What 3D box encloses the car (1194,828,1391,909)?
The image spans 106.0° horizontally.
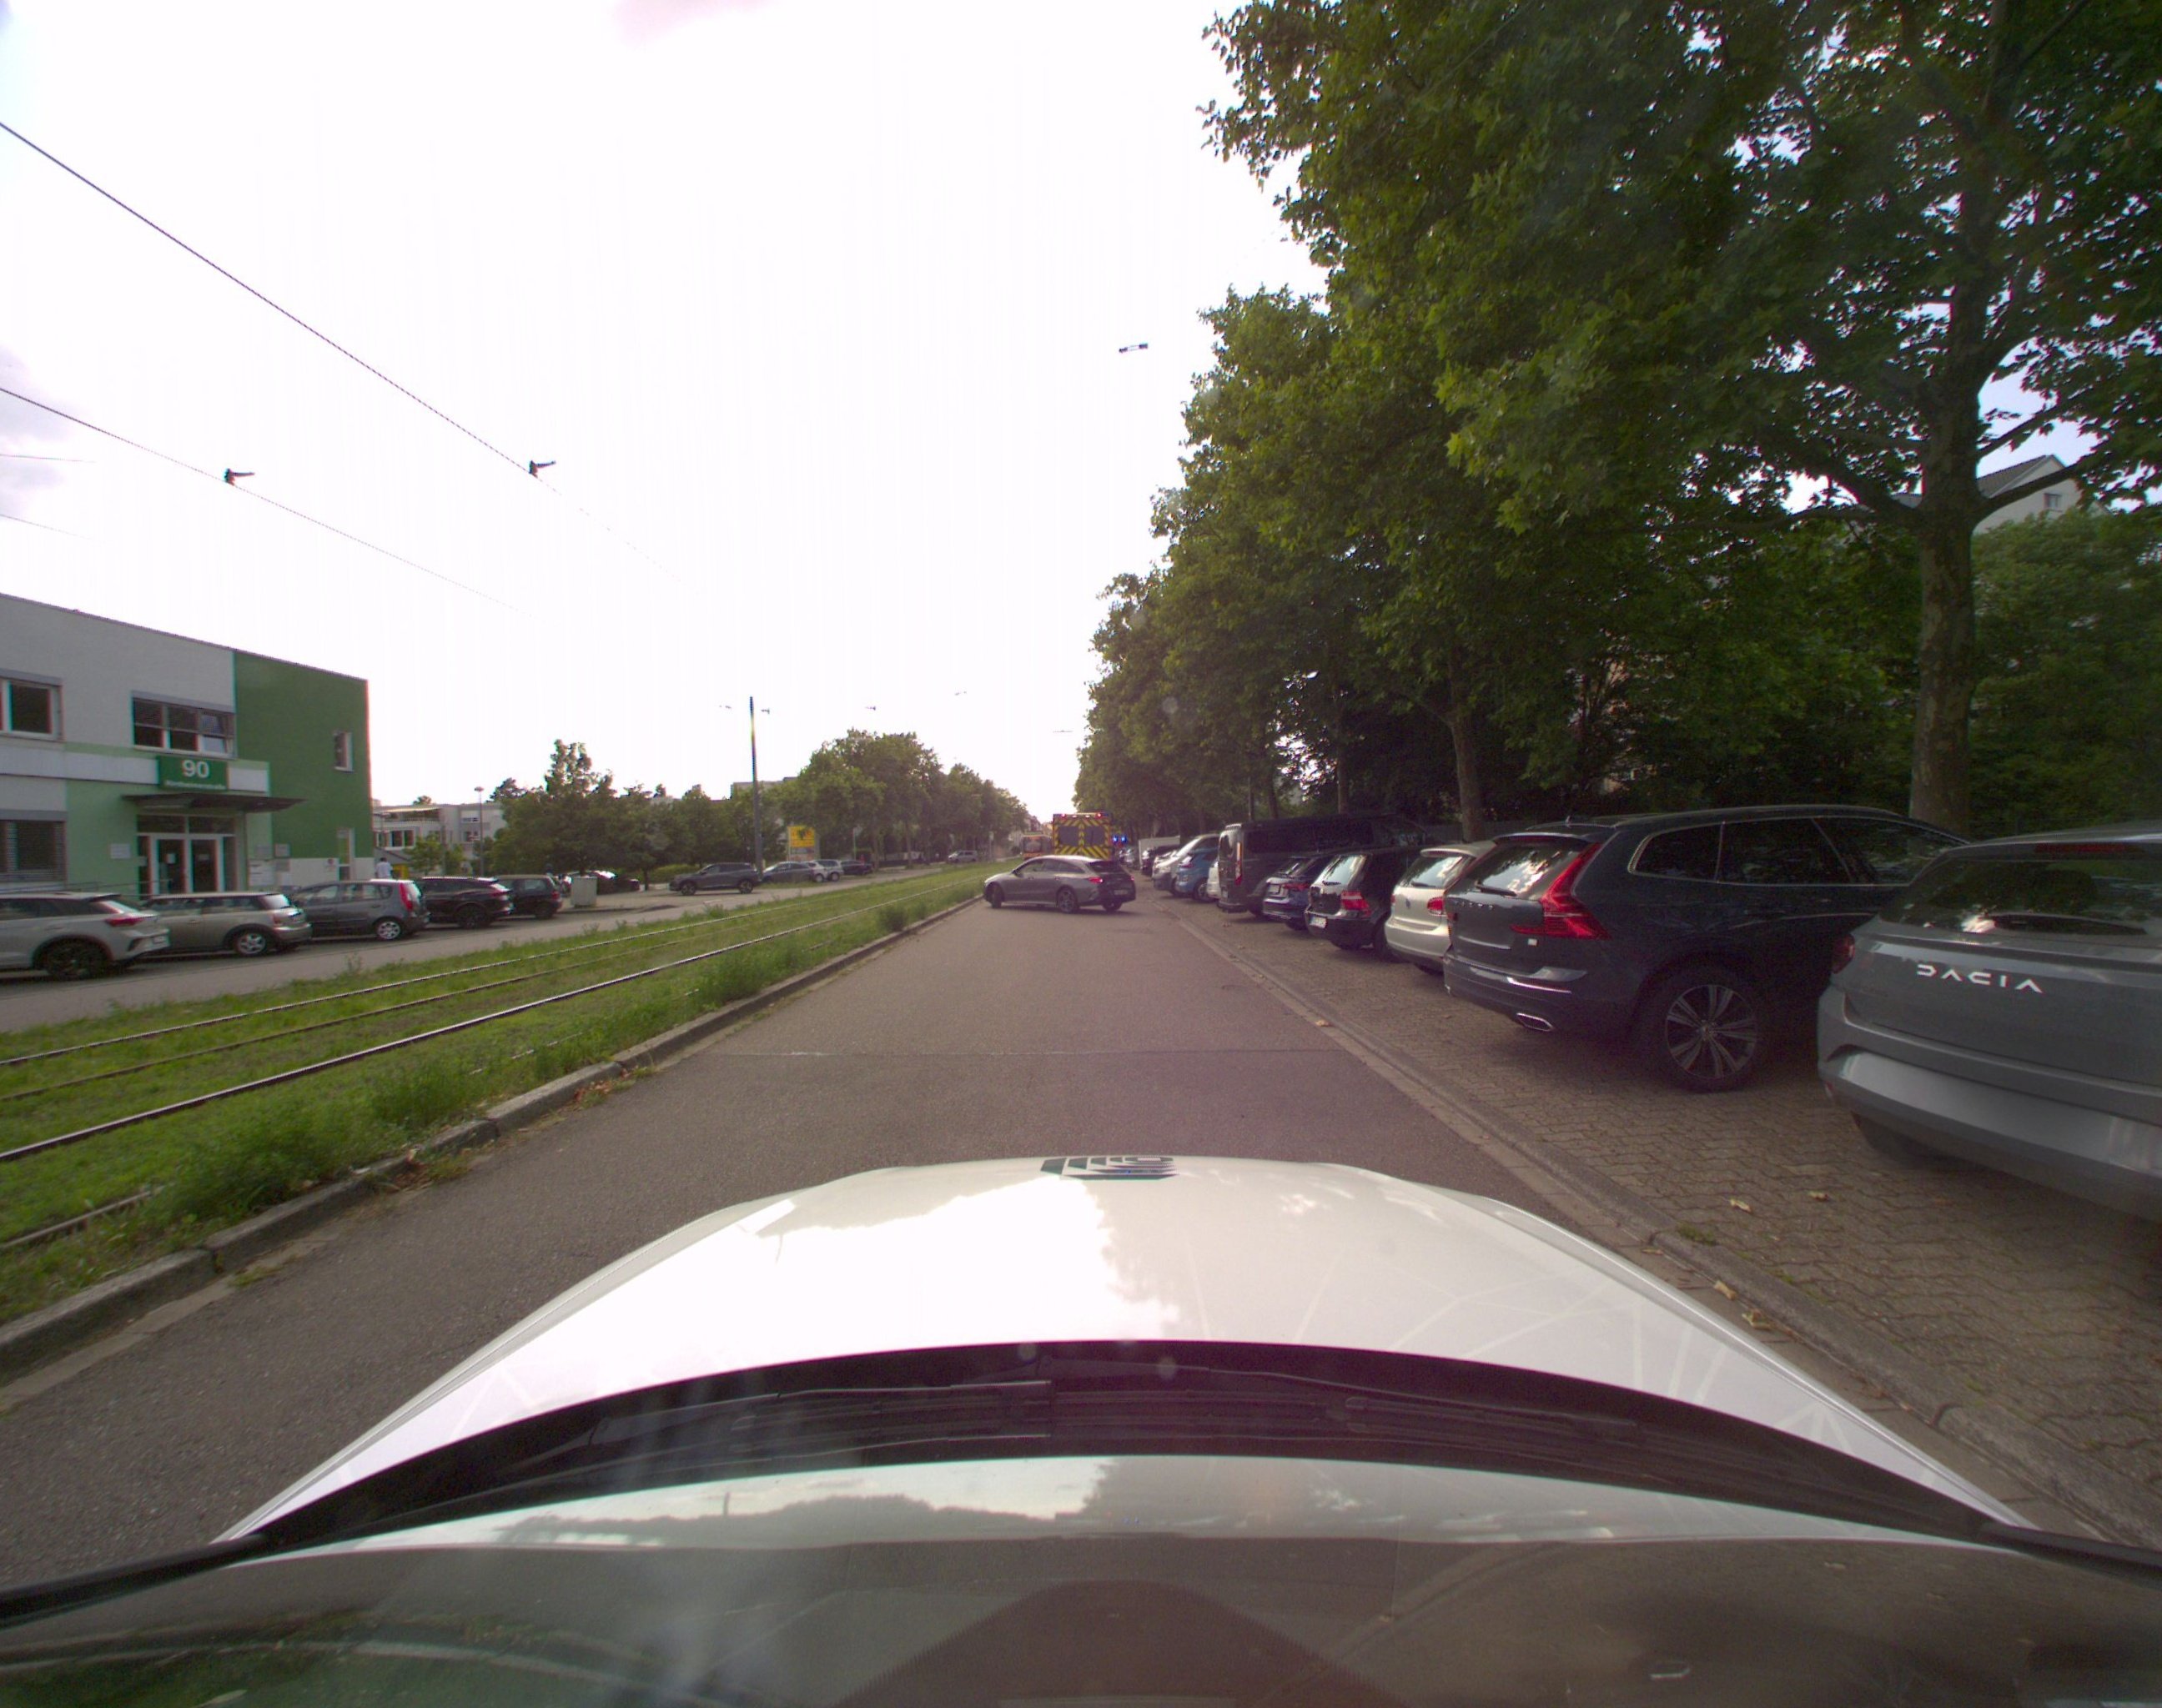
[{"bbox_3d":[5.356,0.346,21.009,4.532,1.766,1.855,-3,0,-1],"label":"car"}]

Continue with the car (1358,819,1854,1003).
[{"bbox_3d":[5.158,0.518,8.400,3.953,1.494,1.755,-3,0,-1],"label":"car"}]

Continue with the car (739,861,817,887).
[{"bbox_3d":[-18.943,1.198,51.004,4.253,1.482,1.863,-1,0,-36],"label":"car"}]

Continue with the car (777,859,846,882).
[{"bbox_3d":[-18.821,1.127,56.938,4.253,1.482,1.863,-1,0,-36],"label":"car"}]

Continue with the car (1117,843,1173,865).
[{"bbox_3d":[5.539,0.011,70.711,4.537,1.608,1.853,-3,0,-4],"label":"car"}]

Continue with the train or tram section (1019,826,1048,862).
[{"bbox_3d":[-5.135,-1.035,89.139,2.504,3.584,7.443,-3,0,0],"label":"train or tram section"}]

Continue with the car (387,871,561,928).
[{"bbox_3d":[-19.445,1.392,26.358,4.247,1.482,1.866,-3,1,-29],"label":"car"}]

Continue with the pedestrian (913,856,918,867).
[{"bbox_3d":[-21.412,0.964,105.238,0.417,1.414,0.470,-2,0,25],"label":"pedestrian"}]

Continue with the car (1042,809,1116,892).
[{"bbox_3d":[0.035,-0.131,32.675,2.631,2.966,6.302,1,0,2],"label":"car"}]

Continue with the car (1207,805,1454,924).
[{"bbox_3d":[5.100,0.203,17.084,4.532,2.123,1.855,-3,0,-1],"label":"car"}]

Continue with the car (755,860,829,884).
[{"bbox_3d":[-19.087,1.152,53.911,4.253,1.482,1.863,-1,0,-36],"label":"car"}]

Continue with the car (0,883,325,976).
[{"bbox_3d":[-19.217,1.499,17.300,4.247,1.482,1.866,-3,1,-29],"label":"car"}]

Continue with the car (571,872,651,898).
[{"bbox_3d":[-29.477,1.926,51.148,3.971,1.565,1.778,0,-1,2],"label":"car"}]

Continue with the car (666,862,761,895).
[{"bbox_3d":[-18.409,1.187,40.875,4.242,1.482,1.868,-1,0,-25],"label":"car"}]

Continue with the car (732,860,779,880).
[{"bbox_3d":[-29.736,1.401,74.455,3.949,1.750,2.013,0,0,31],"label":"car"}]

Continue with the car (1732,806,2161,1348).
[{"bbox_3d":[5.221,0.526,2.877,4.364,1.501,1.757,-3,0,1],"label":"car"}]

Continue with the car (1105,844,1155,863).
[{"bbox_3d":[4.740,-0.045,78.942,4.537,1.608,1.853,-3,0,-4],"label":"car"}]

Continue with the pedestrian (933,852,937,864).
[{"bbox_3d":[-22.263,0.565,124.386,0.465,1.828,0.422,-2,0,-2],"label":"pedestrian"}]

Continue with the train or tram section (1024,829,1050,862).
[{"bbox_3d":[-5.136,-0.971,96.570,2.504,3.584,7.443,-3,0,0],"label":"train or tram section"}]

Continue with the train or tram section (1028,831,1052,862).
[{"bbox_3d":[-5.128,-0.907,104.014,2.504,3.584,7.443,-3,0,0],"label":"train or tram section"}]

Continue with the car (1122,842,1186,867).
[{"bbox_3d":[5.420,0.055,60.860,4.537,1.608,1.853,-3,0,-4],"label":"car"}]

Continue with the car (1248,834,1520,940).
[{"bbox_3d":[5.046,0.525,13.941,3.953,1.494,1.755,-3,0,-1],"label":"car"}]

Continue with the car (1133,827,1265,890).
[{"bbox_3d":[4.386,0.156,30.669,4.537,2.043,1.853,-3,0,-4],"label":"car"}]

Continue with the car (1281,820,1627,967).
[{"bbox_3d":[4.993,0.469,11.126,3.967,1.605,1.750,-3,0,-11],"label":"car"}]

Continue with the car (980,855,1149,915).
[{"bbox_3d":[-0.521,0.731,21.321,4.411,1.385,1.777,0,0,42],"label":"car"}]

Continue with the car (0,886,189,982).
[{"bbox_3d":[-19.125,1.456,14.325,4.252,1.482,1.863,-3,1,-34],"label":"car"}]

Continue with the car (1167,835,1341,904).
[{"bbox_3d":[4.926,0.424,23.540,4.538,1.660,1.853,-3,0,-5],"label":"car"}]

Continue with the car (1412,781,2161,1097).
[{"bbox_3d":[4.823,0.469,5.554,4.364,1.639,1.757,-3,0,1],"label":"car"}]

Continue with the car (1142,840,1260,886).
[{"bbox_3d":[4.976,0.367,34.143,4.537,1.608,1.853,-3,0,-4],"label":"car"}]

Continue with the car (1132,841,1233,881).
[{"bbox_3d":[4.858,0.324,39.299,4.537,1.608,1.853,-3,0,-4],"label":"car"}]

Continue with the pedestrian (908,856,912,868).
[{"bbox_3d":[-21.696,0.993,103.359,0.420,1.473,0.467,-2,0,-5],"label":"pedestrian"}]

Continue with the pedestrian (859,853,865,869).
[{"bbox_3d":[-23.214,0.751,86.382,0.465,1.676,0.603,-2,0,-2],"label":"pedestrian"}]

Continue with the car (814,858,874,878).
[{"bbox_3d":[-18.932,1.131,65.142,4.256,1.482,1.861,-1,0,-40],"label":"car"}]

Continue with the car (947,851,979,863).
[{"bbox_3d":[-18.739,0.495,129.675,4.651,1.633,1.861,-3,0,-39],"label":"car"}]

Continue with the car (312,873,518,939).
[{"bbox_3d":[-18.898,1.423,23.392,4.247,1.482,1.866,-3,1,-29],"label":"car"}]

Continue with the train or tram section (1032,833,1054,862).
[{"bbox_3d":[-5.113,-0.843,111.456,2.504,3.584,7.443,-3,0,0],"label":"train or tram section"}]

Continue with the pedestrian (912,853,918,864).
[{"bbox_3d":[-23.021,0.653,112.812,0.631,1.551,0.621,-2,0,-3],"label":"pedestrian"}]

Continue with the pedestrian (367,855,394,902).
[{"bbox_3d":[-28.268,0.978,32.867,0.544,1.828,0.508,-2,0,-2],"label":"pedestrian"}]

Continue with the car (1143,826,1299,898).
[{"bbox_3d":[4.409,0.239,26.074,4.537,2.000,1.853,-3,0,-4],"label":"car"}]

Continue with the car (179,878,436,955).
[{"bbox_3d":[-18.991,1.468,20.307,4.247,1.482,1.866,-3,1,-29],"label":"car"}]
